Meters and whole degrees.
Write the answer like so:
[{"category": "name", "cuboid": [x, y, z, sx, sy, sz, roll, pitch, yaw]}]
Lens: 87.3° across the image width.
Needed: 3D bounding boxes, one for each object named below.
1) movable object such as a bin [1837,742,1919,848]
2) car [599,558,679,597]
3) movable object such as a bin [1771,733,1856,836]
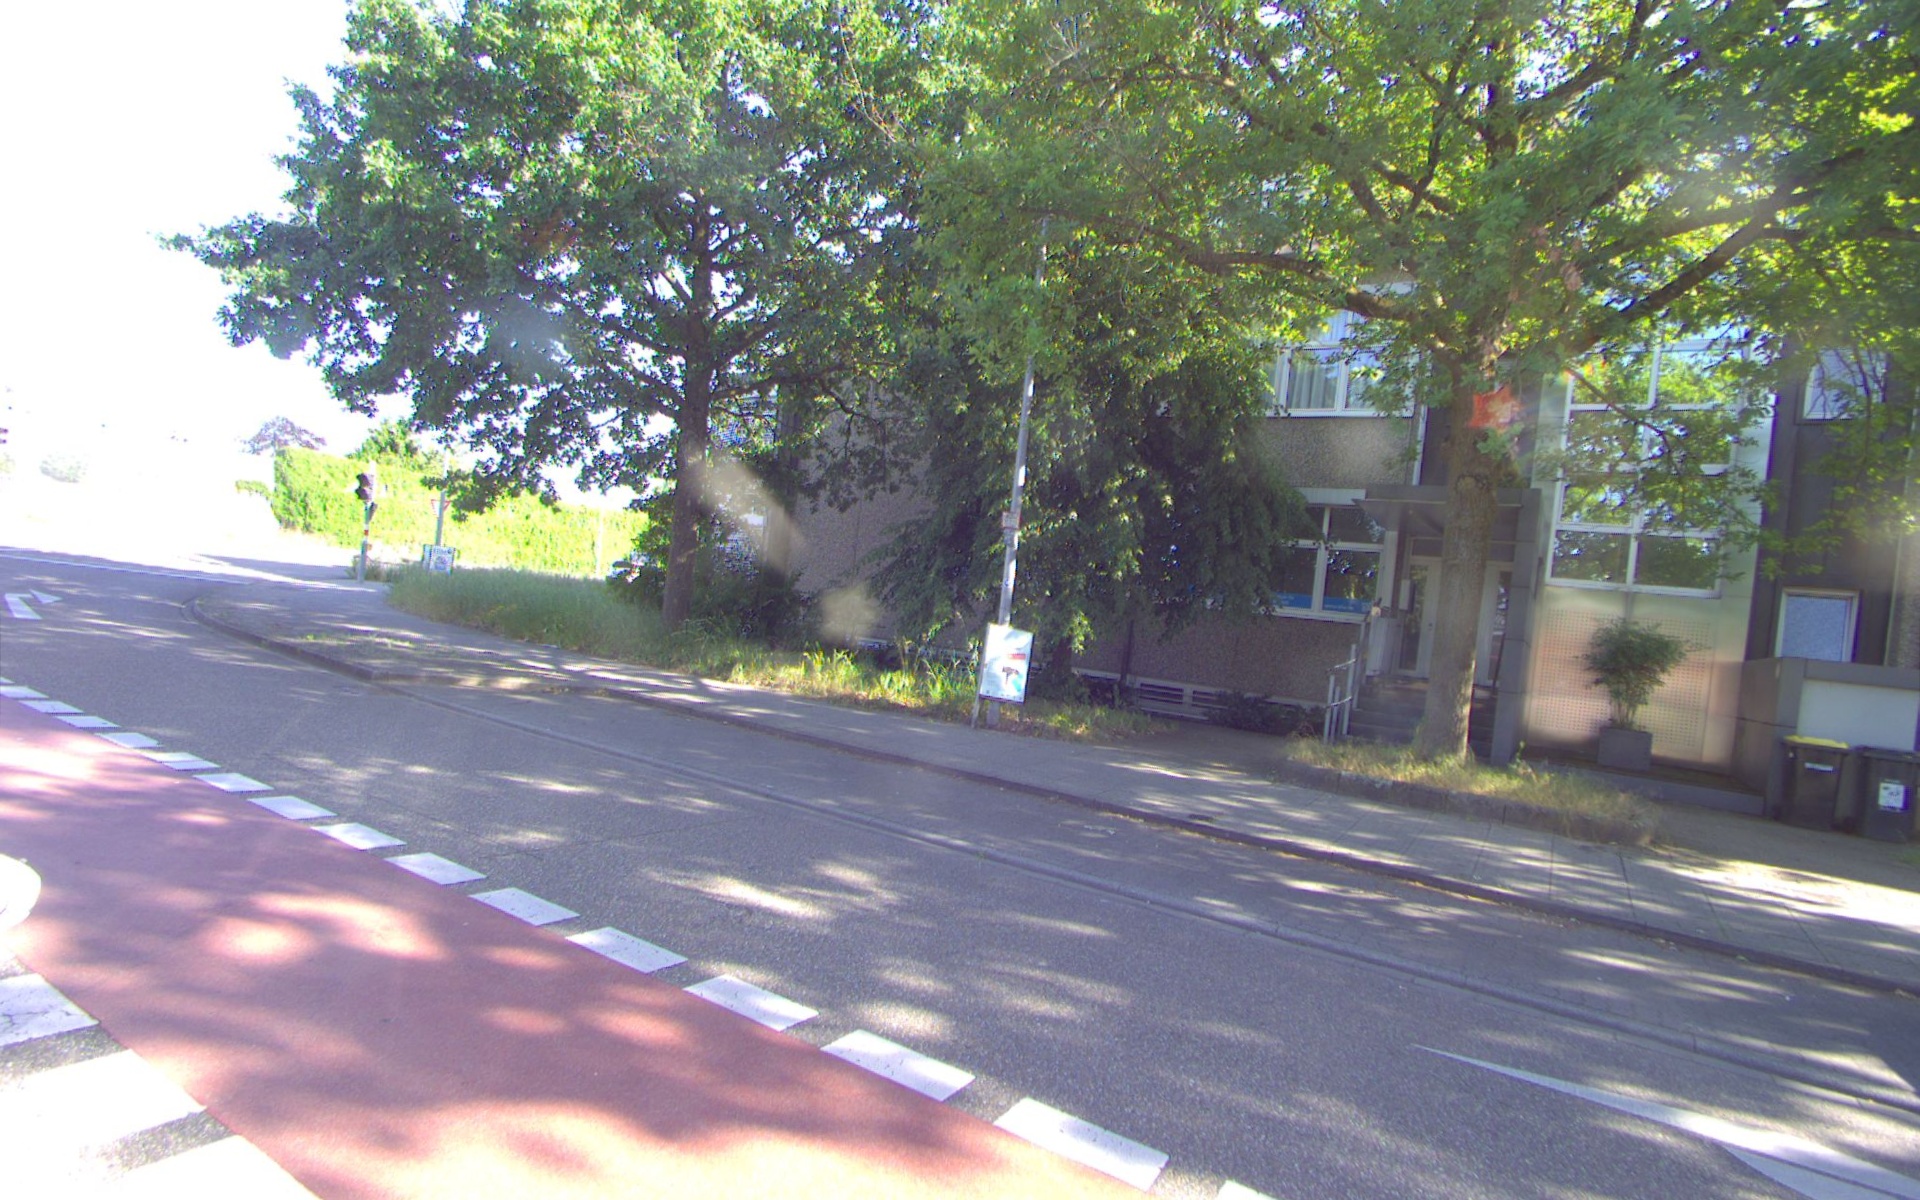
[{"category": "movable object such as a bin", "cuboid": [10.763, 2.249, 11.722, 0.605, 1.075, 0.634, 6, 0, 30]}, {"category": "car", "cuboid": [-16.568, -1.126, 52.078, 1.691, 1.627, 4.066, 8, 1, 20]}, {"category": "movable object such as a bin", "cuboid": [10.174, 2.181, 12.015, 0.575, 1.070, 0.625, 7, 0, 30]}]
